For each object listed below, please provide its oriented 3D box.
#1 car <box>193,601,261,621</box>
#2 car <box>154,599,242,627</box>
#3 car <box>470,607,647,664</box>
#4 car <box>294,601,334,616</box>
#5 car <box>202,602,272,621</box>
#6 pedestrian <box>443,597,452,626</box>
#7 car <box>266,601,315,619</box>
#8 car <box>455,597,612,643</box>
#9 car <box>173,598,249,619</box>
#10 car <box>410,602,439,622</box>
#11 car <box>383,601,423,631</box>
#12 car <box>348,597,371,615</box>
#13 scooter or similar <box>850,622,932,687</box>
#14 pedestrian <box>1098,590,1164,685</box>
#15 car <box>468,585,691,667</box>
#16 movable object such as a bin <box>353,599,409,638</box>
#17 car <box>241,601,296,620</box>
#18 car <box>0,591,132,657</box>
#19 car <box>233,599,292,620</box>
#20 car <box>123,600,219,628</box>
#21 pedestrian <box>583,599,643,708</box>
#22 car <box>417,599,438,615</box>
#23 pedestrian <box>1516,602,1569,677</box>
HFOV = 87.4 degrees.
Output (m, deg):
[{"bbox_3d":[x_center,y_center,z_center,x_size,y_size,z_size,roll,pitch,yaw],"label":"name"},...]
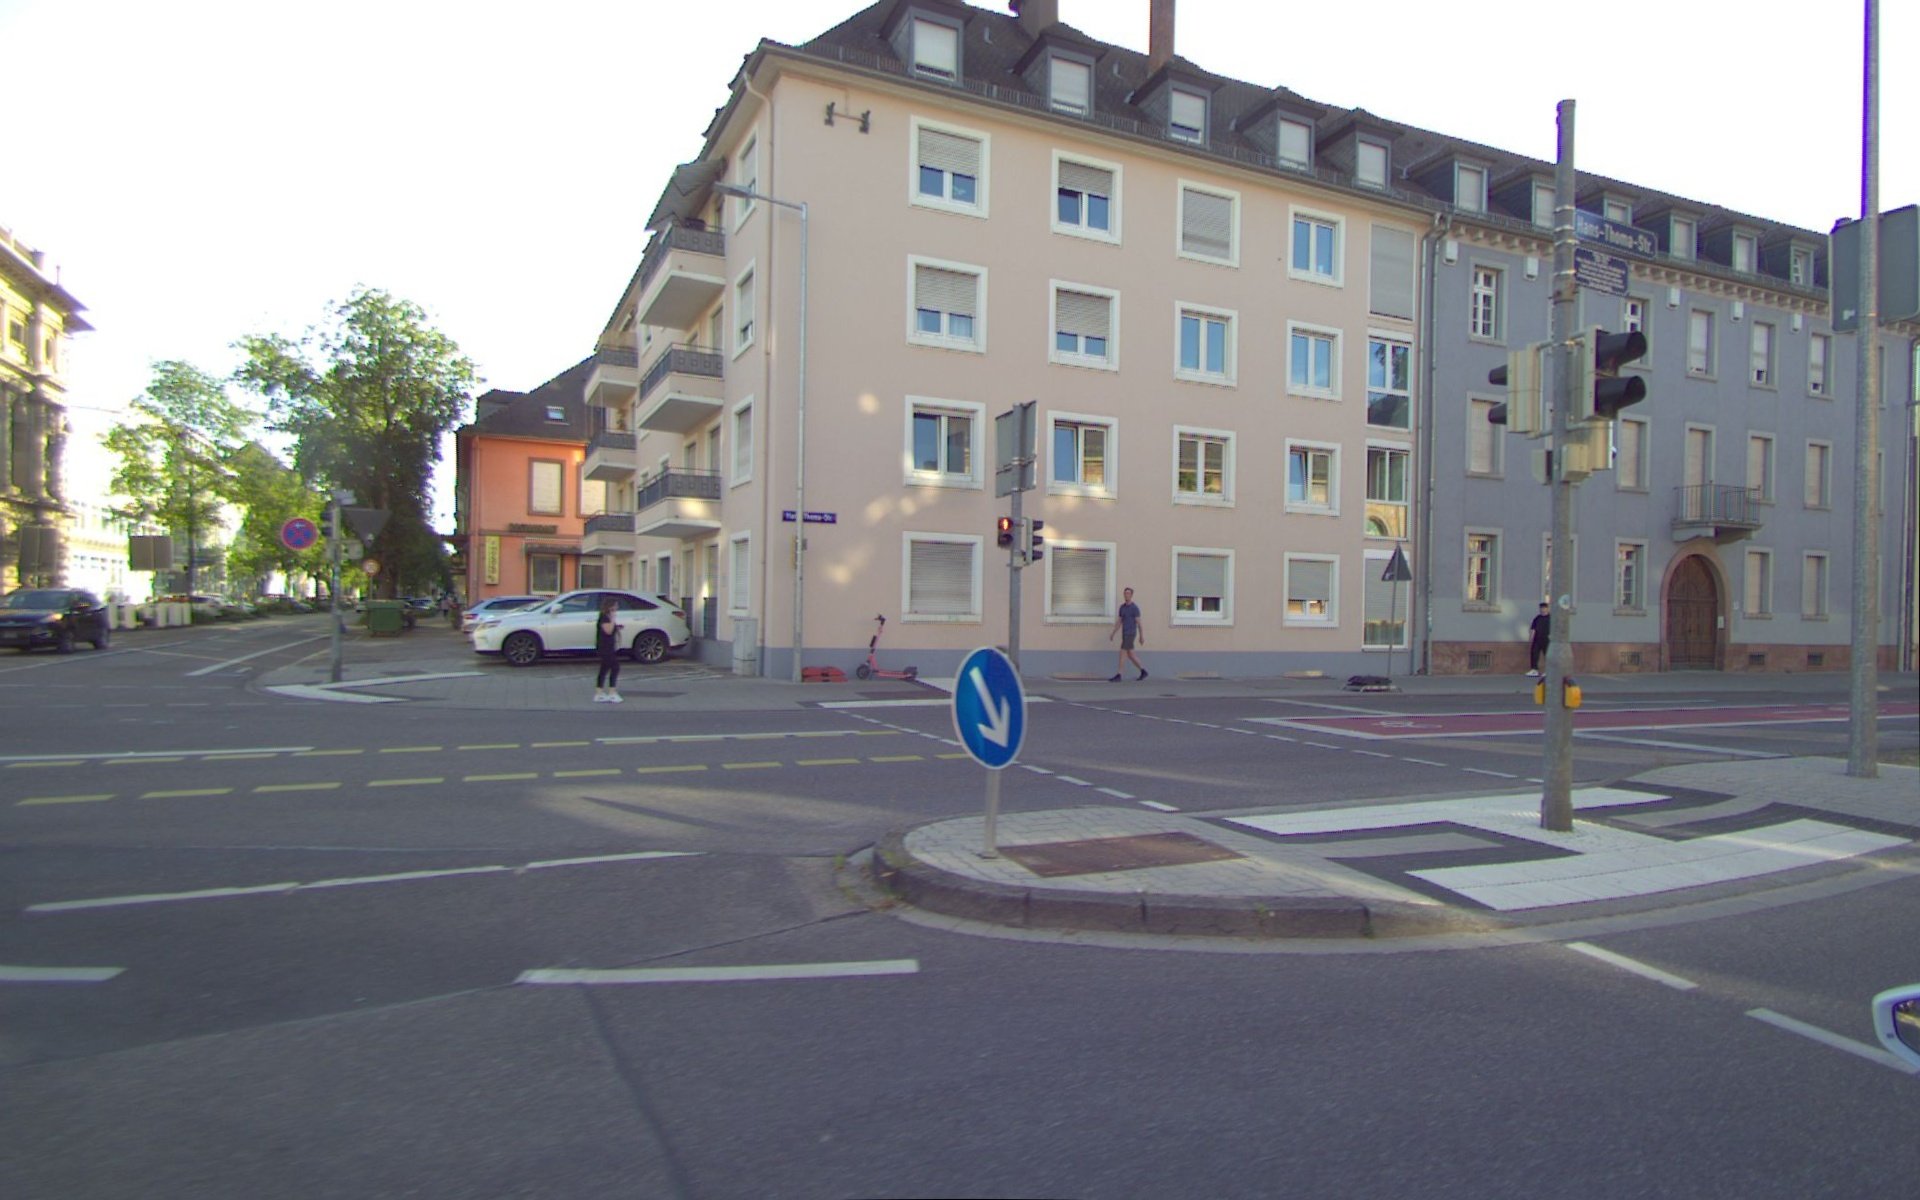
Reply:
[{"bbox_3d":[-52.766,0.825,72.387,3.699,1.284,1.567,1,-4,-29],"label":"car"},{"bbox_3d":[-48.163,0.850,63.621,4.143,1.580,1.985,1,-4,-29],"label":"car"},{"bbox_3d":[-9.965,0.851,24.996,3.951,1.327,1.599,1,-1,-29],"label":"car"},{"bbox_3d":[-76.841,1.020,119.534,3.953,1.718,1.723,1,-1,-30],"label":"car"},{"bbox_3d":[-53.621,0.846,74.570,3.951,1.327,1.599,1,-1,-29],"label":"car"},{"bbox_3d":[-34.081,0.756,66.802,0.486,1.867,0.575,1,0,-26],"label":"pedestrian"},{"bbox_3d":[-67.952,1.022,102.031,3.953,1.718,1.723,1,-1,-30],"label":"car"},{"bbox_3d":[-14.314,0.661,33.744,4.725,1.451,1.986,1,-1,-27],"label":"car"},{"bbox_3d":[-50.115,0.584,67.277,3.858,1.302,1.637,1,-4,-28],"label":"car"},{"bbox_3d":[-40.367,0.880,75.748,1.680,1.469,3.974,1,-1,-25],"label":"car"},{"bbox_3d":[-28.250,0.808,51.034,1.682,1.469,3.971,1,-1,-28],"label":"car"},{"bbox_3d":[-62.523,0.611,104.611,1.732,1.750,3.819,1,-1,-27],"label":"car"},{"bbox_3d":[-1.308,1.025,19.113,1.452,1.201,0.532,1,1,-23],"label":"scooter or similar"},{"bbox_3d":[3.542,0.758,20.831,1.000,1.889,0.866,1,2,-22],"label":"pedestrian"},{"bbox_3d":[-8.685,0.580,22.992,4.558,1.709,1.985,1,-1,-29],"label":"car"},{"bbox_3d":[-22.742,0.736,39.511,1.868,1.474,1.103,1,0,-30],"label":"movable object such as a bin"},{"bbox_3d":[-62.525,0.952,90.894,3.953,1.718,1.723,1,-1,-30],"label":"car"},{"bbox_3d":[-23.801,0.593,26.397,1.973,1.593,4.660,1,-1,-24],"label":"car"},{"bbox_3d":[-59.463,0.846,85.654,3.954,1.636,1.723,2,-4,-31],"label":"car"},{"bbox_3d":[-47.275,0.851,60.311,4.206,1.558,1.816,1,-4,-29],"label":"car"},{"bbox_3d":[-5.356,0.815,15.494,0.807,1.605,0.629,1,2,-24],"label":"pedestrian"},{"bbox_3d":[-50.451,0.698,95.247,1.682,1.469,3.971,1,-1,-28],"label":"car"},{"bbox_3d":[15.169,1.019,26.159,0.999,1.871,0.629,1,2,-24],"label":"pedestrian"}]
